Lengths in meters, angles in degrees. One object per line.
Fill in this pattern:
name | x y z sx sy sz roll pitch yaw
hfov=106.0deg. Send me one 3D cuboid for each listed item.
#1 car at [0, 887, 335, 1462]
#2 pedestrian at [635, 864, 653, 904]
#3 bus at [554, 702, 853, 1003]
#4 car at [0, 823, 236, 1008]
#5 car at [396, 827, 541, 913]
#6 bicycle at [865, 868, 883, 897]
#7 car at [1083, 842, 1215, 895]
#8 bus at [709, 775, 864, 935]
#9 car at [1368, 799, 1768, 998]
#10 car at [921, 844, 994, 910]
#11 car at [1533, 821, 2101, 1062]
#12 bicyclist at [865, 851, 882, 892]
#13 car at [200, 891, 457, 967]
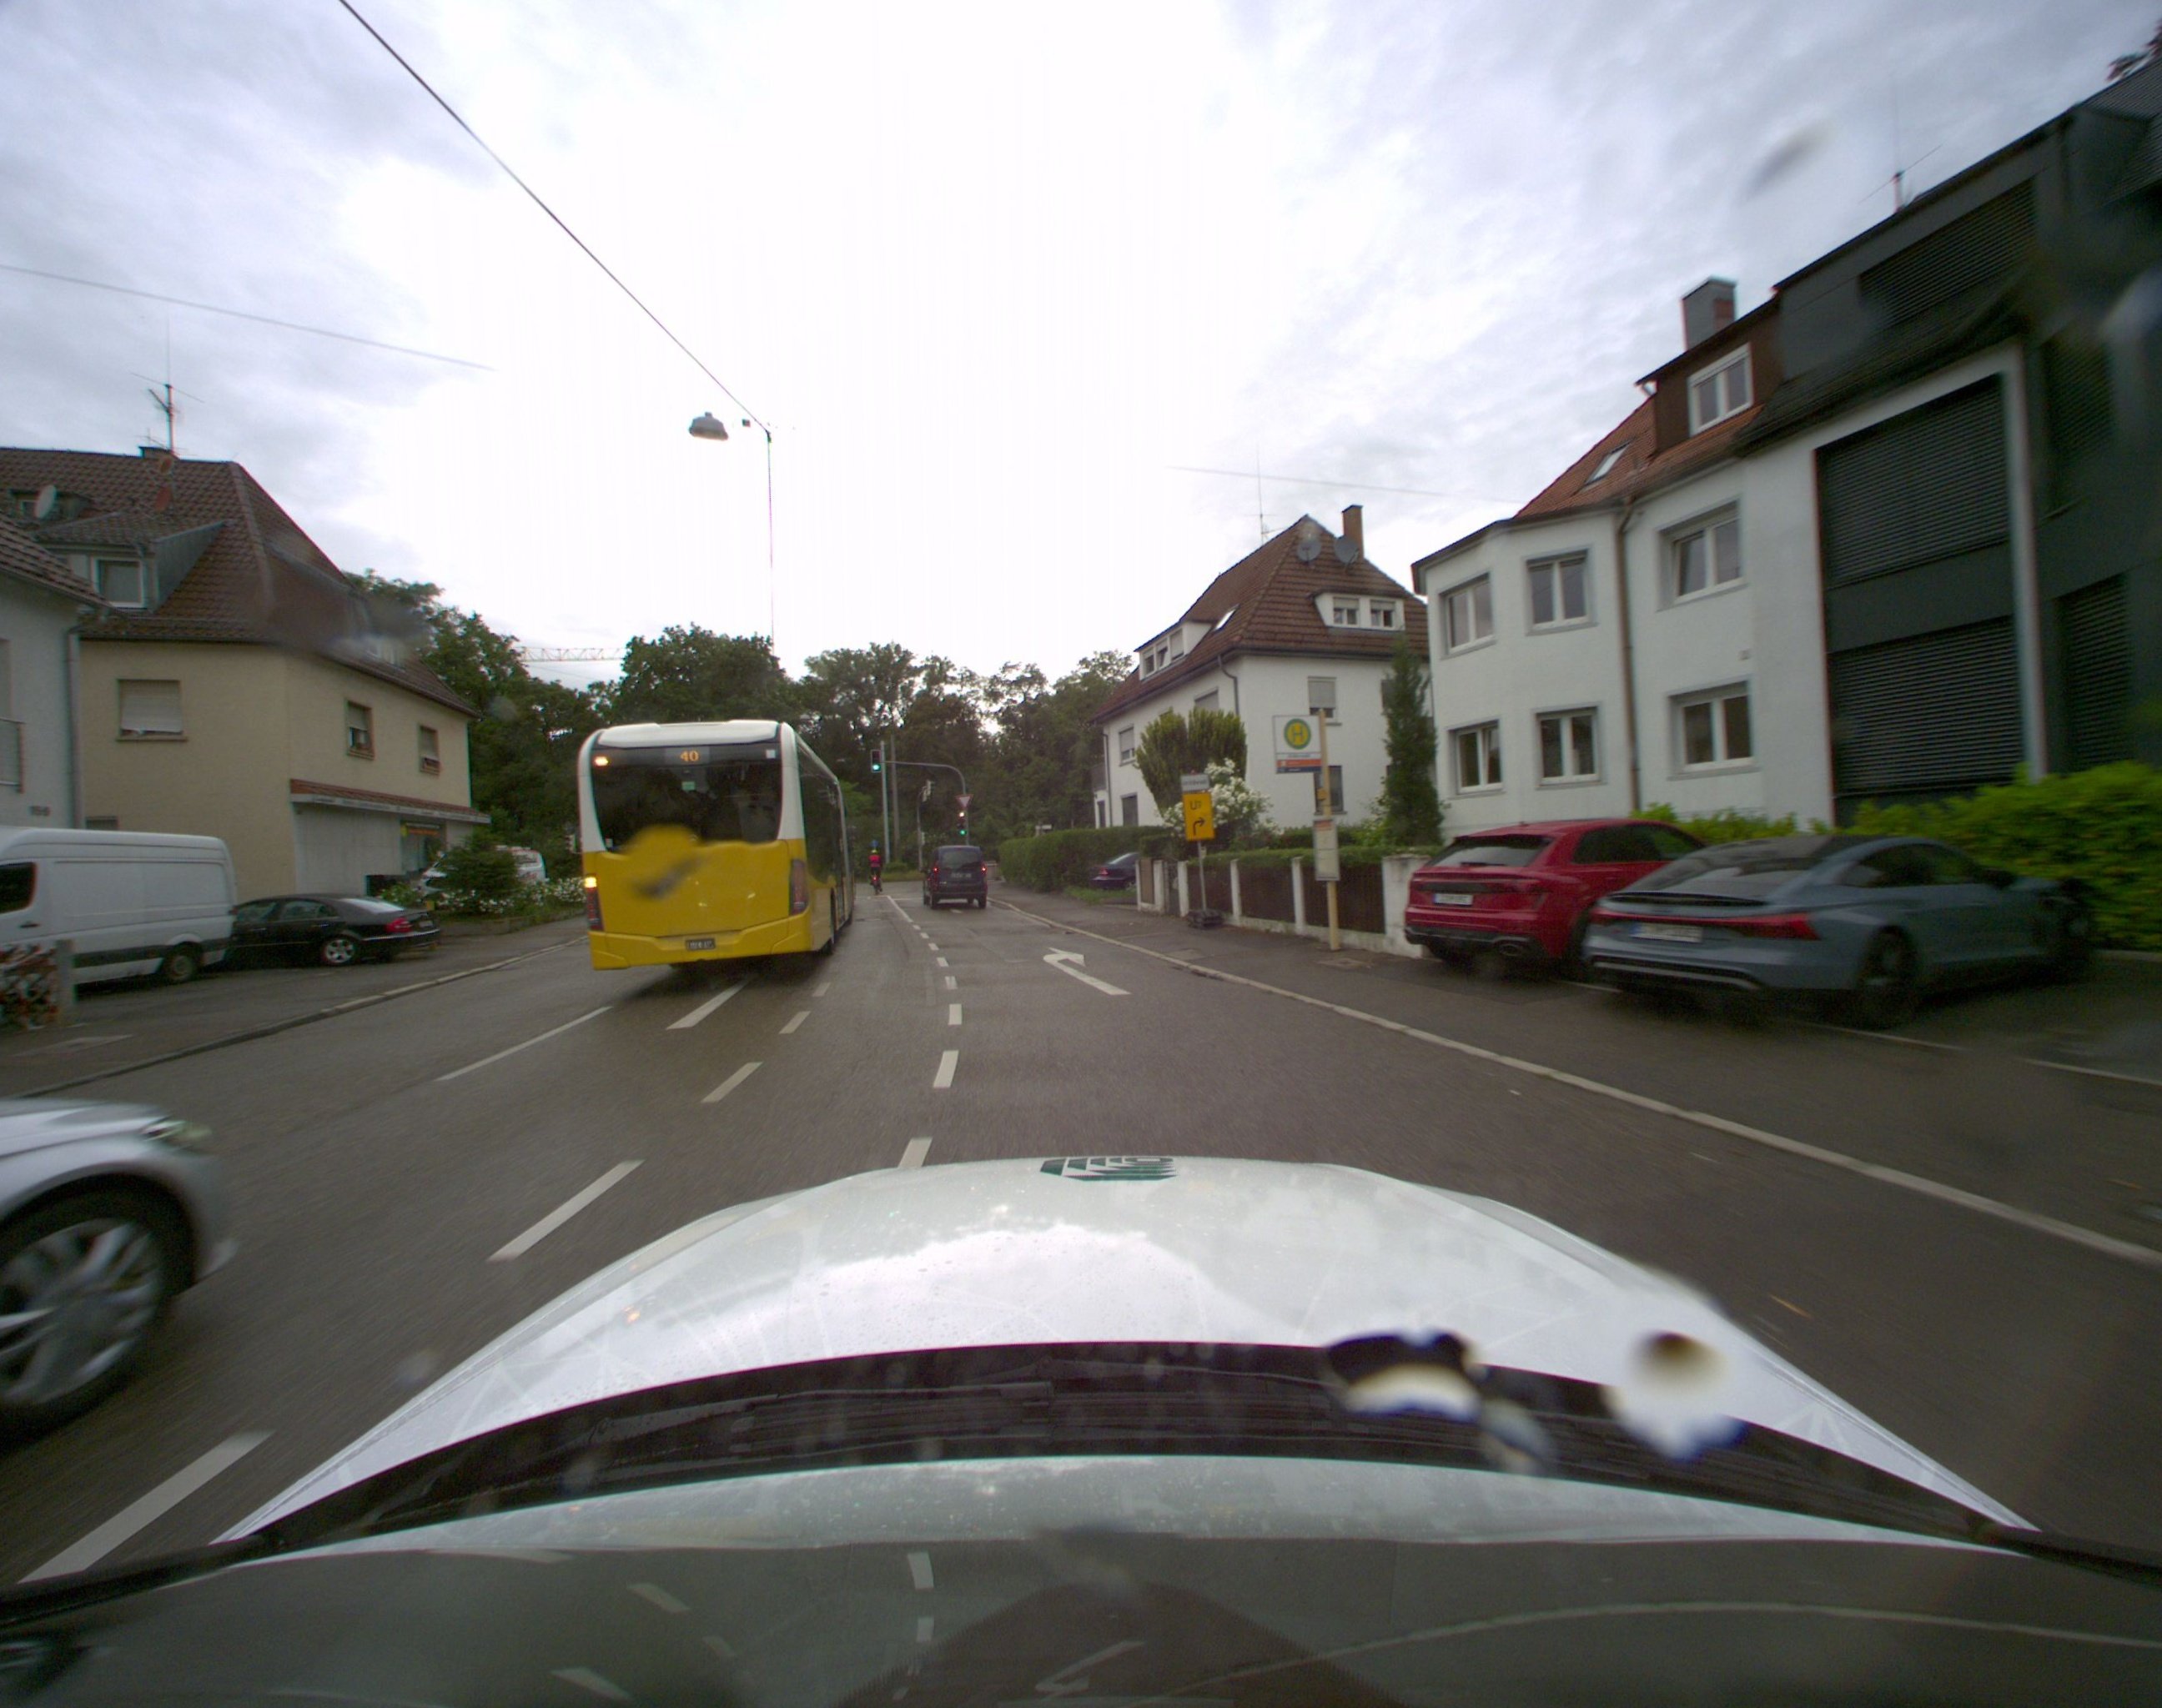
car | -3.887 0.956 0.879 1.988 1.479 4.484 -3 1 -1
pedestrian | -18.254 1.253 34.028 0.602 1.618 0.429 -1 0 -36
bus | -5.550 -0.068 13.773 2.680 3.398 8.641 -3 0 -13
car | -15.628 0.850 11.793 1.996 2.448 5.469 -1 0 -13
car | -19.560 0.462 26.351 1.999 2.448 5.460 -1 0 -18
bicycle | -8.448 1.150 33.269 0.578 1.096 2.146 -1 0 -11
car | 2.121 0.411 25.542 3.753 1.388 1.607 -3 2 -17
bus | -7.613 -0.001 22.326 2.904 3.398 8.997 -3 0 -14
car | 5.661 0.373 9.480 4.093 1.750 1.984 -4 1 -25
car | -3.882 0.680 25.089 1.811 1.797 3.981 -2 -1 -13
car | 6.598 0.563 7.317 4.566 1.416 1.985 -4 1 -22
bicyclist | -8.474 0.715 33.351 0.578 1.652 1.044 -1 0 -11
car | -16.637 1.615 18.282 3.837 1.344 1.789 -1 0 -25
